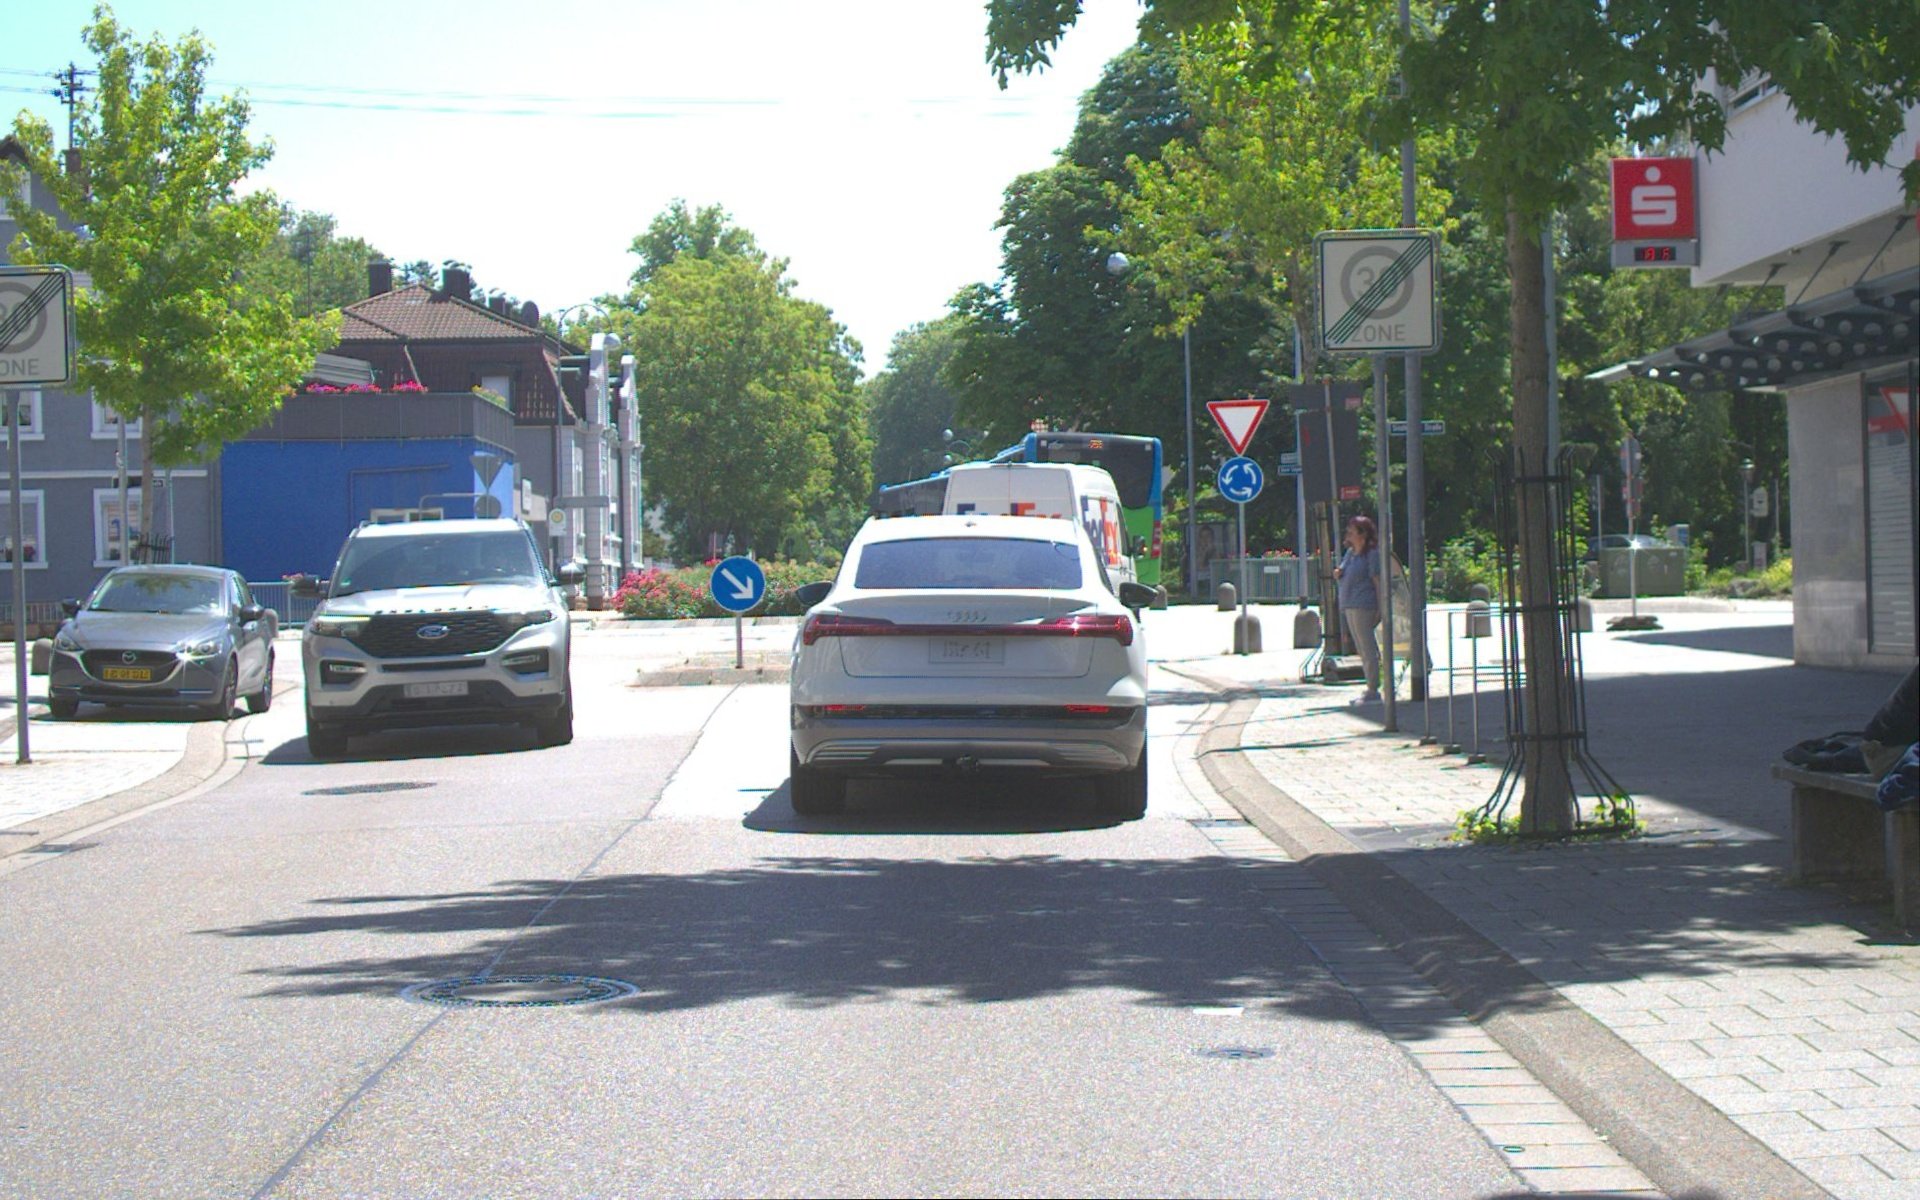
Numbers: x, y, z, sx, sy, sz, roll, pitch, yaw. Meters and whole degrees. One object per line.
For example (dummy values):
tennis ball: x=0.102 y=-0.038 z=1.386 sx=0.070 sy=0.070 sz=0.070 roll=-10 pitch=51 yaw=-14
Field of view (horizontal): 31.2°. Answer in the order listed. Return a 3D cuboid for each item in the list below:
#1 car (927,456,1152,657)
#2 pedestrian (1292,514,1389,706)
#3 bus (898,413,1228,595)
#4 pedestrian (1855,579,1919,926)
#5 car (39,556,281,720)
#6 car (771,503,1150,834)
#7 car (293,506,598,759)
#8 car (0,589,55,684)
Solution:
car: x=1.134 y=-0.580 z=45.498 sx=1.994 sy=2.472 sz=5.481 roll=-1 pitch=1 yaw=11
pedestrian: x=3.242 y=0.083 z=29.328 sx=0.732 sy=1.604 sz=0.559 roll=-2 pitch=1 yaw=1
bus: x=1.670 y=-1.752 z=69.937 sx=3.705 sy=3.160 sz=18.073 roll=1 pitch=0 yaw=-8
pedestrian: x=3.679 y=0.541 z=12.544 sx=0.761 sy=1.236 sz=0.537 roll=-2 pitch=0 yaw=14
car: x=-7.809 y=0.324 z=33.877 sx=1.666 sy=1.481 sz=4.061 roll=1 pitch=1 yaw=-4
car: x=0.011 y=0.313 z=19.557 sx=1.898 sy=1.656 sz=4.409 roll=0 pitch=1 yaw=0
car: x=-3.980 y=0.202 z=27.336 sx=1.900 sy=1.748 sz=4.757 roll=-3 pitch=1 yaw=-3
car: x=-16.918 y=0.622 z=54.890 sx=4.423 sy=1.452 sz=1.769 roll=-2 pitch=1 yaw=-1
